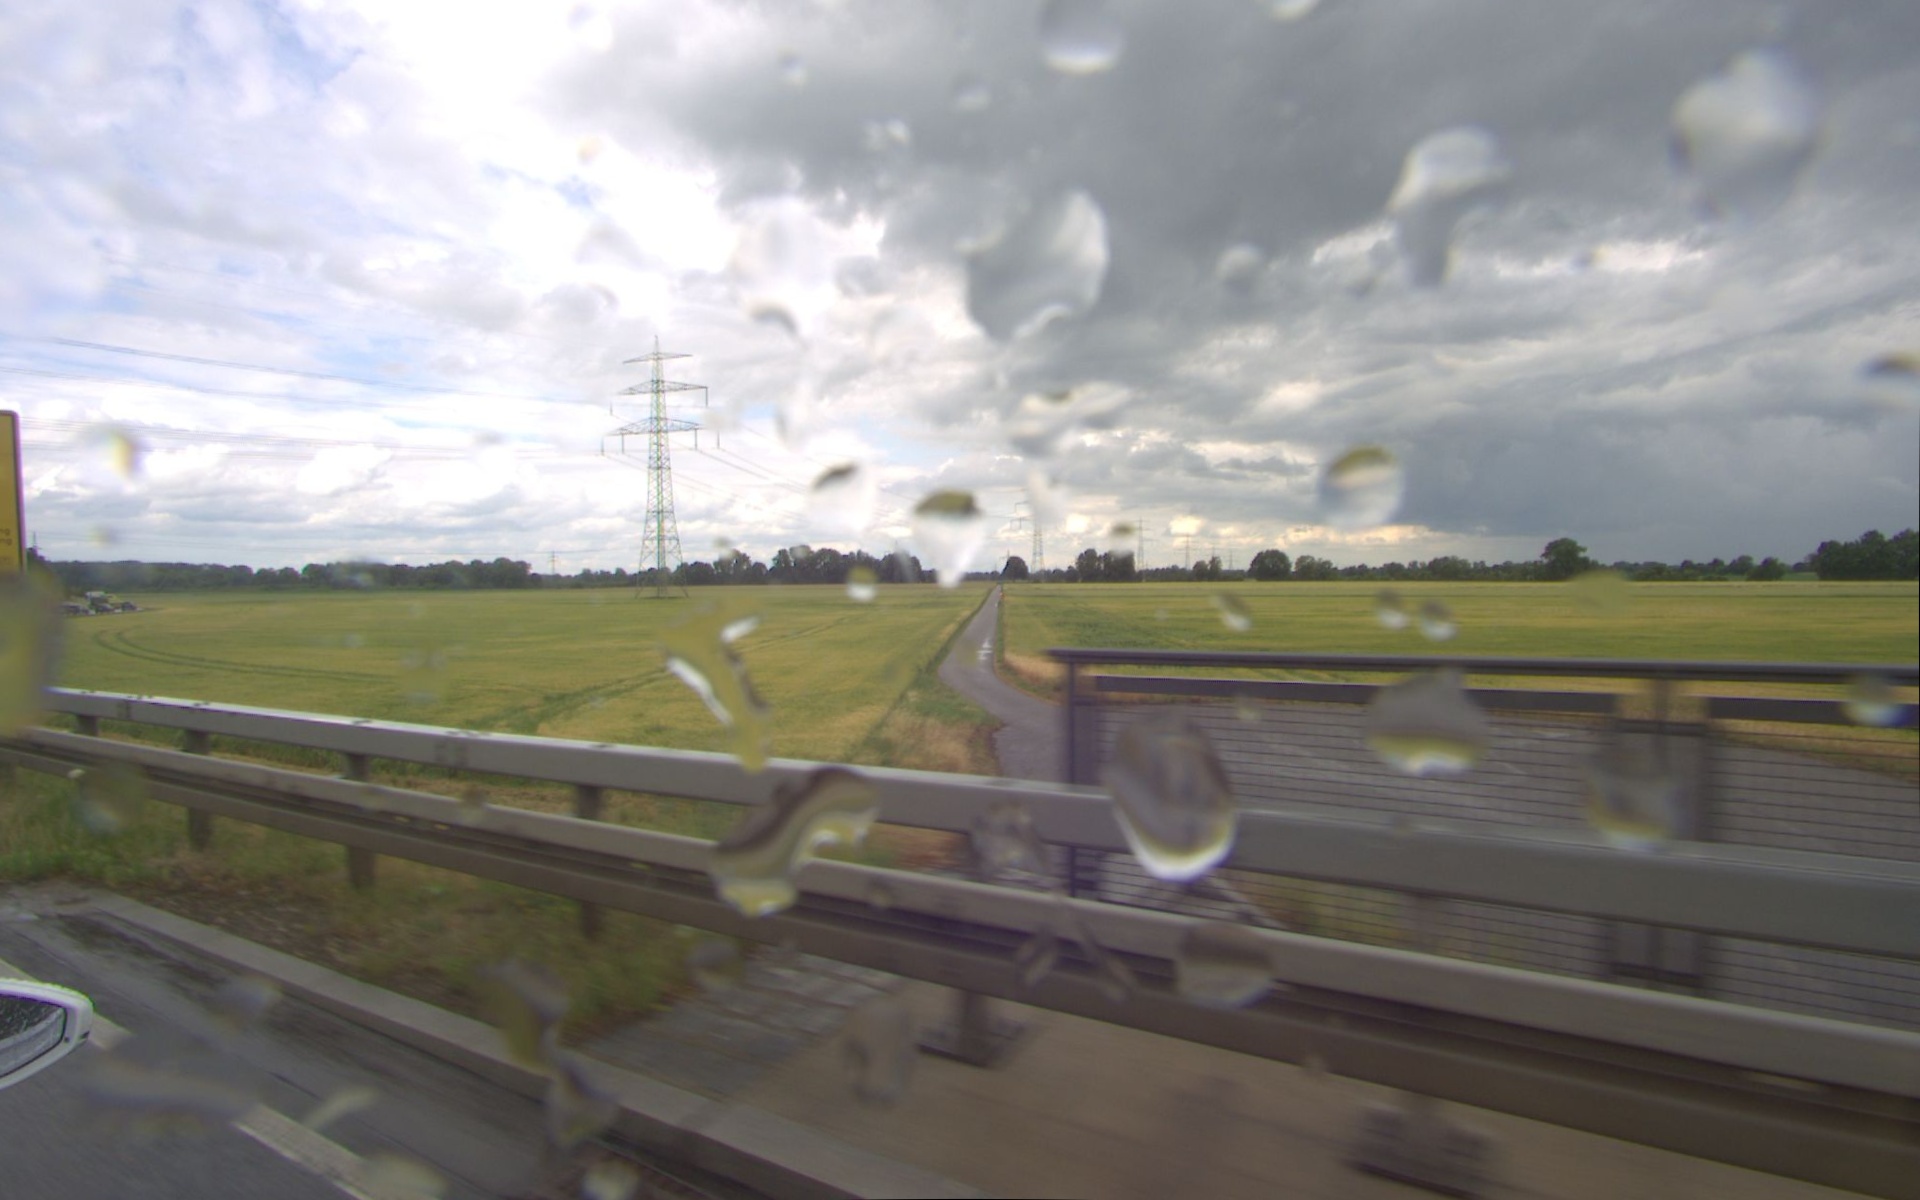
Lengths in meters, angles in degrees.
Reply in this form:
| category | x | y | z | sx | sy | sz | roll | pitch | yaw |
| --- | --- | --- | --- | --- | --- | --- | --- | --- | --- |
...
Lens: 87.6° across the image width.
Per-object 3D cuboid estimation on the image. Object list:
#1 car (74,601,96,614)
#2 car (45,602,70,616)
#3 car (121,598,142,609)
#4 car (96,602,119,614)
| category | x | y | z | sx | sy | sz | roll | pitch | yaw |
| --- | --- | --- | --- | --- | --- | --- | --- | --- | --- |
| car | -140.977 | 1.210 | 161.375 | 1.973 | 2.040 | 3.976 | -3 | 0 | -33 |
| car | -136.850 | 1.385 | 151.812 | 2.203 | 2.039 | 3.976 | 0 | -2 | -33 |
| car | -157.951 | 0.604 | 190.850 | 1.737 | 2.040 | 3.991 | 0 | 0 | -18 |
| car | -146.719 | 1.342 | 172.360 | 1.968 | 2.039 | 3.987 | 0 | -2 | -24 |
